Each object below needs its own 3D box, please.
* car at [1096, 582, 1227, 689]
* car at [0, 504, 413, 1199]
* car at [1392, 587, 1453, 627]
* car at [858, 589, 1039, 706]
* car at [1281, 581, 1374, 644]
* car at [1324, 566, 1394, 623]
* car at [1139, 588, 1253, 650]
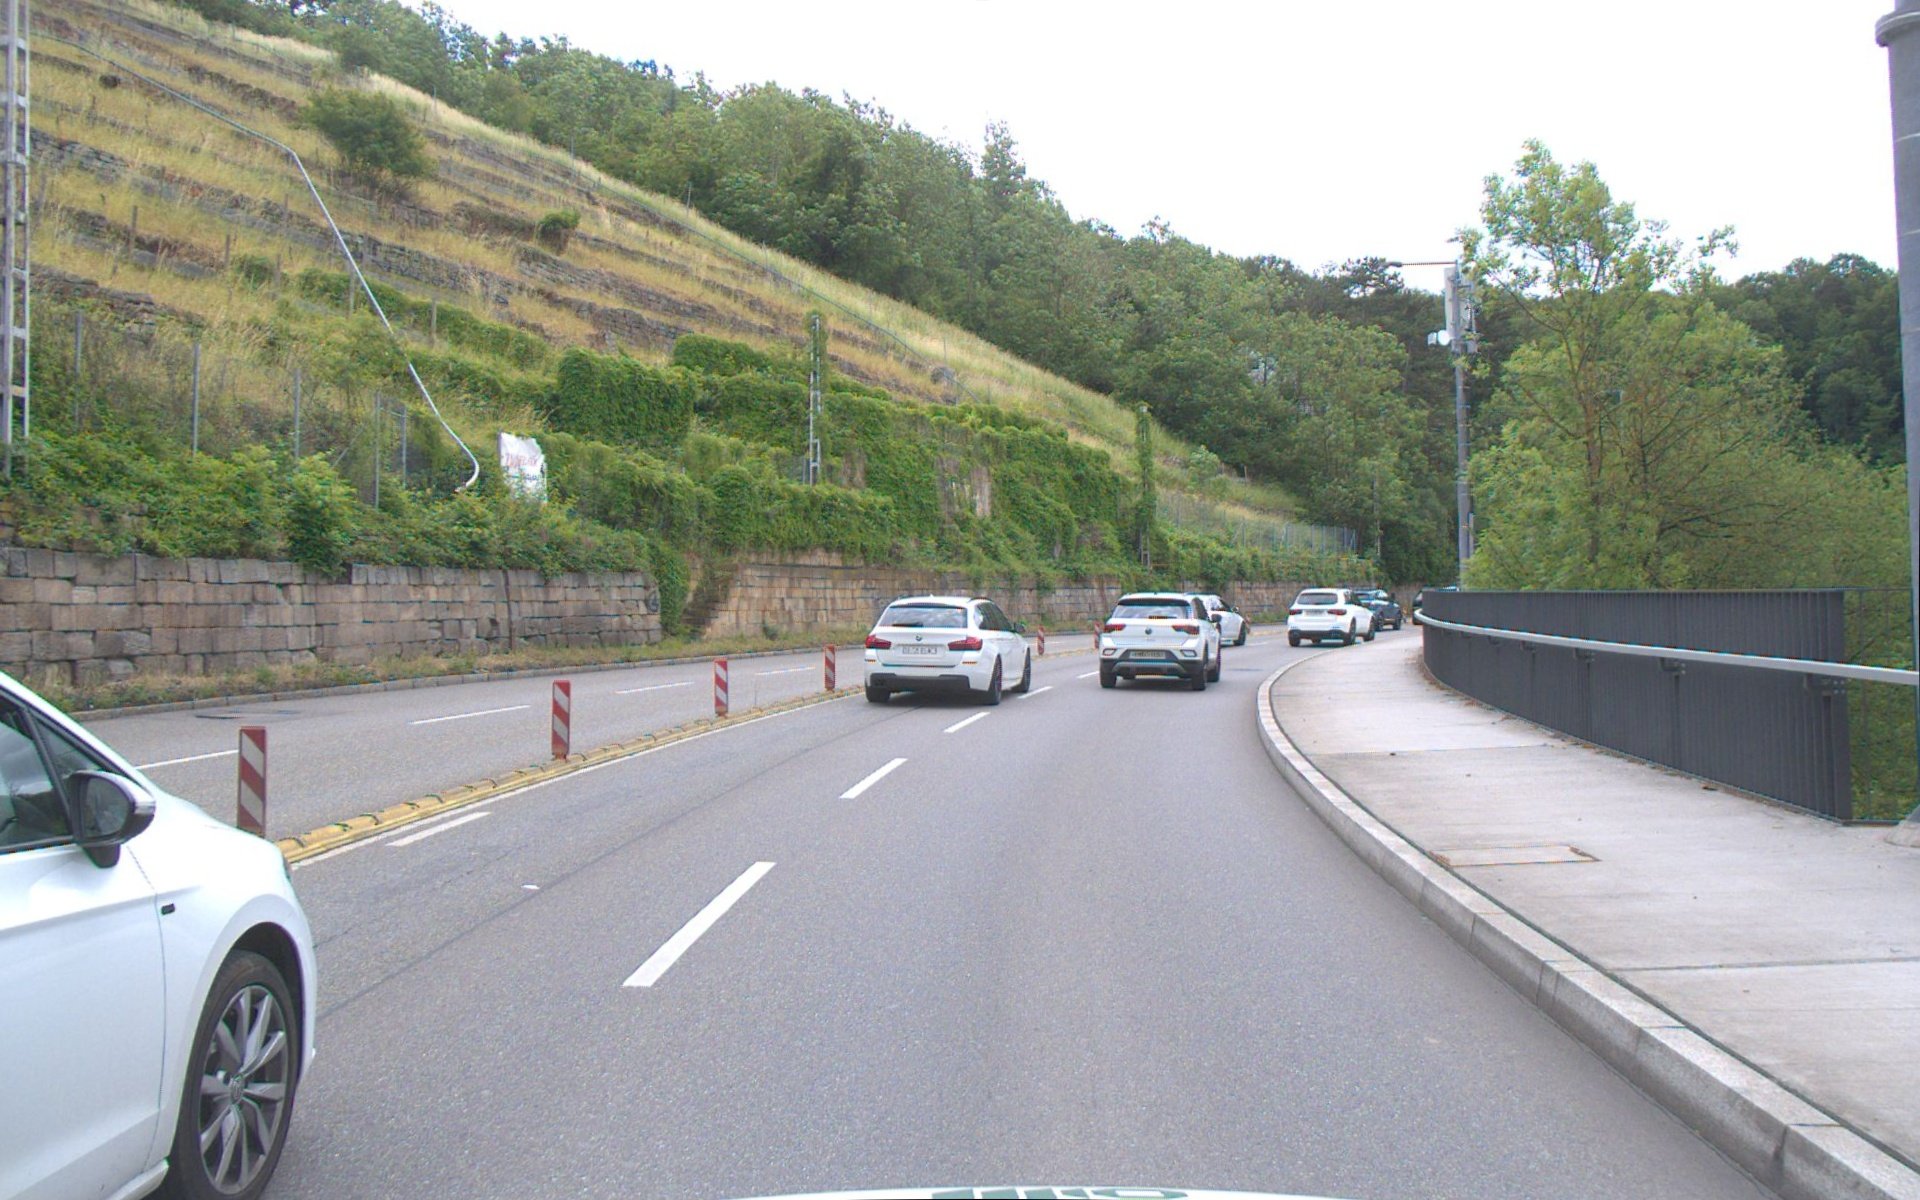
[{"bbox_3d":[3.529,0.572,28.379,1.789,1.633,4.003,2,0,12],"label":"car"},{"bbox_3d":[-2.453,0.636,2.527,1.784,1.608,4.355,1,0,0],"label":"car"},{"bbox_3d":[20.818,0.318,74.323,1.954,1.747,3.996,0,0,26],"label":"car"},{"bbox_3d":[-0.053,0.649,23.959,1.789,1.485,4.489,1,0,10],"label":"car"},{"bbox_3d":[10.807,0.333,48.476,1.953,1.748,4.113,1,0,23],"label":"car"},{"bbox_3d":[15.560,-0.200,64.375,1.953,2.049,3.999,-3,-1,22],"label":"car"},{"bbox_3d":[6.761,0.516,46.915,1.953,1.529,4.666,-5,-2,23],"label":"car"}]
